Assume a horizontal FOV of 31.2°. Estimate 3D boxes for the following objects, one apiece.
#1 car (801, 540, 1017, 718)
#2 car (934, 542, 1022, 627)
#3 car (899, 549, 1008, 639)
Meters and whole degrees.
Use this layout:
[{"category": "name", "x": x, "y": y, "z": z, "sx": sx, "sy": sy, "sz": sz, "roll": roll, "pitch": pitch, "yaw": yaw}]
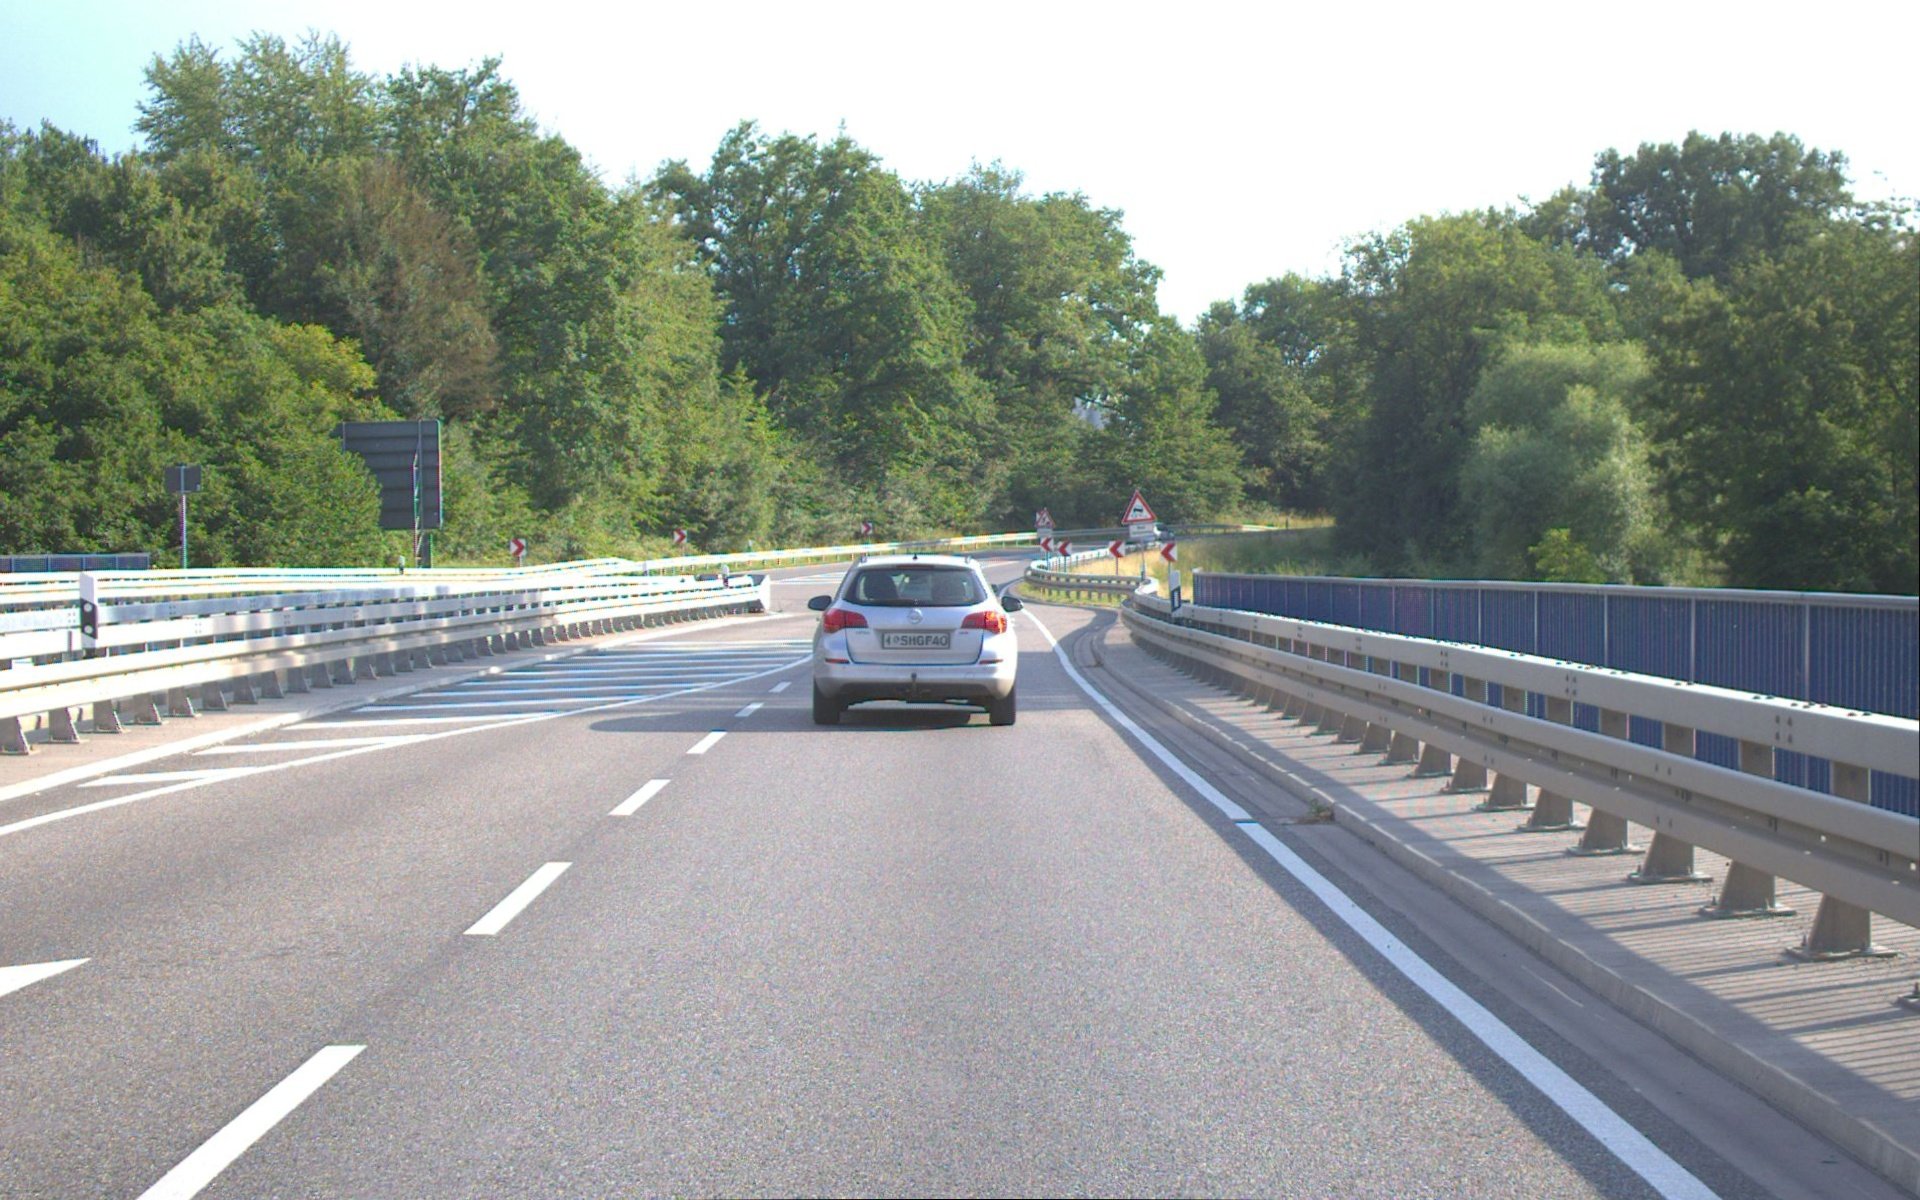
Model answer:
[{"category": "car", "x": -0.472, "y": 0.244, "z": 31.064, "sx": 1.809, "sy": 1.481, "sz": 4.000, "roll": 1, "pitch": 0, "yaw": -1}, {"category": "car", "x": 0.410, "y": -0.370, "z": 83.502, "sx": 1.993, "sy": 2.007, "sz": 4.000, "roll": 1, "pitch": 0, "yaw": -1}, {"category": "car", "x": -0.142, "y": -0.100, "z": 59.672, "sx": 1.809, "sy": 1.481, "sz": 4.000, "roll": 1, "pitch": 0, "yaw": -1}]
